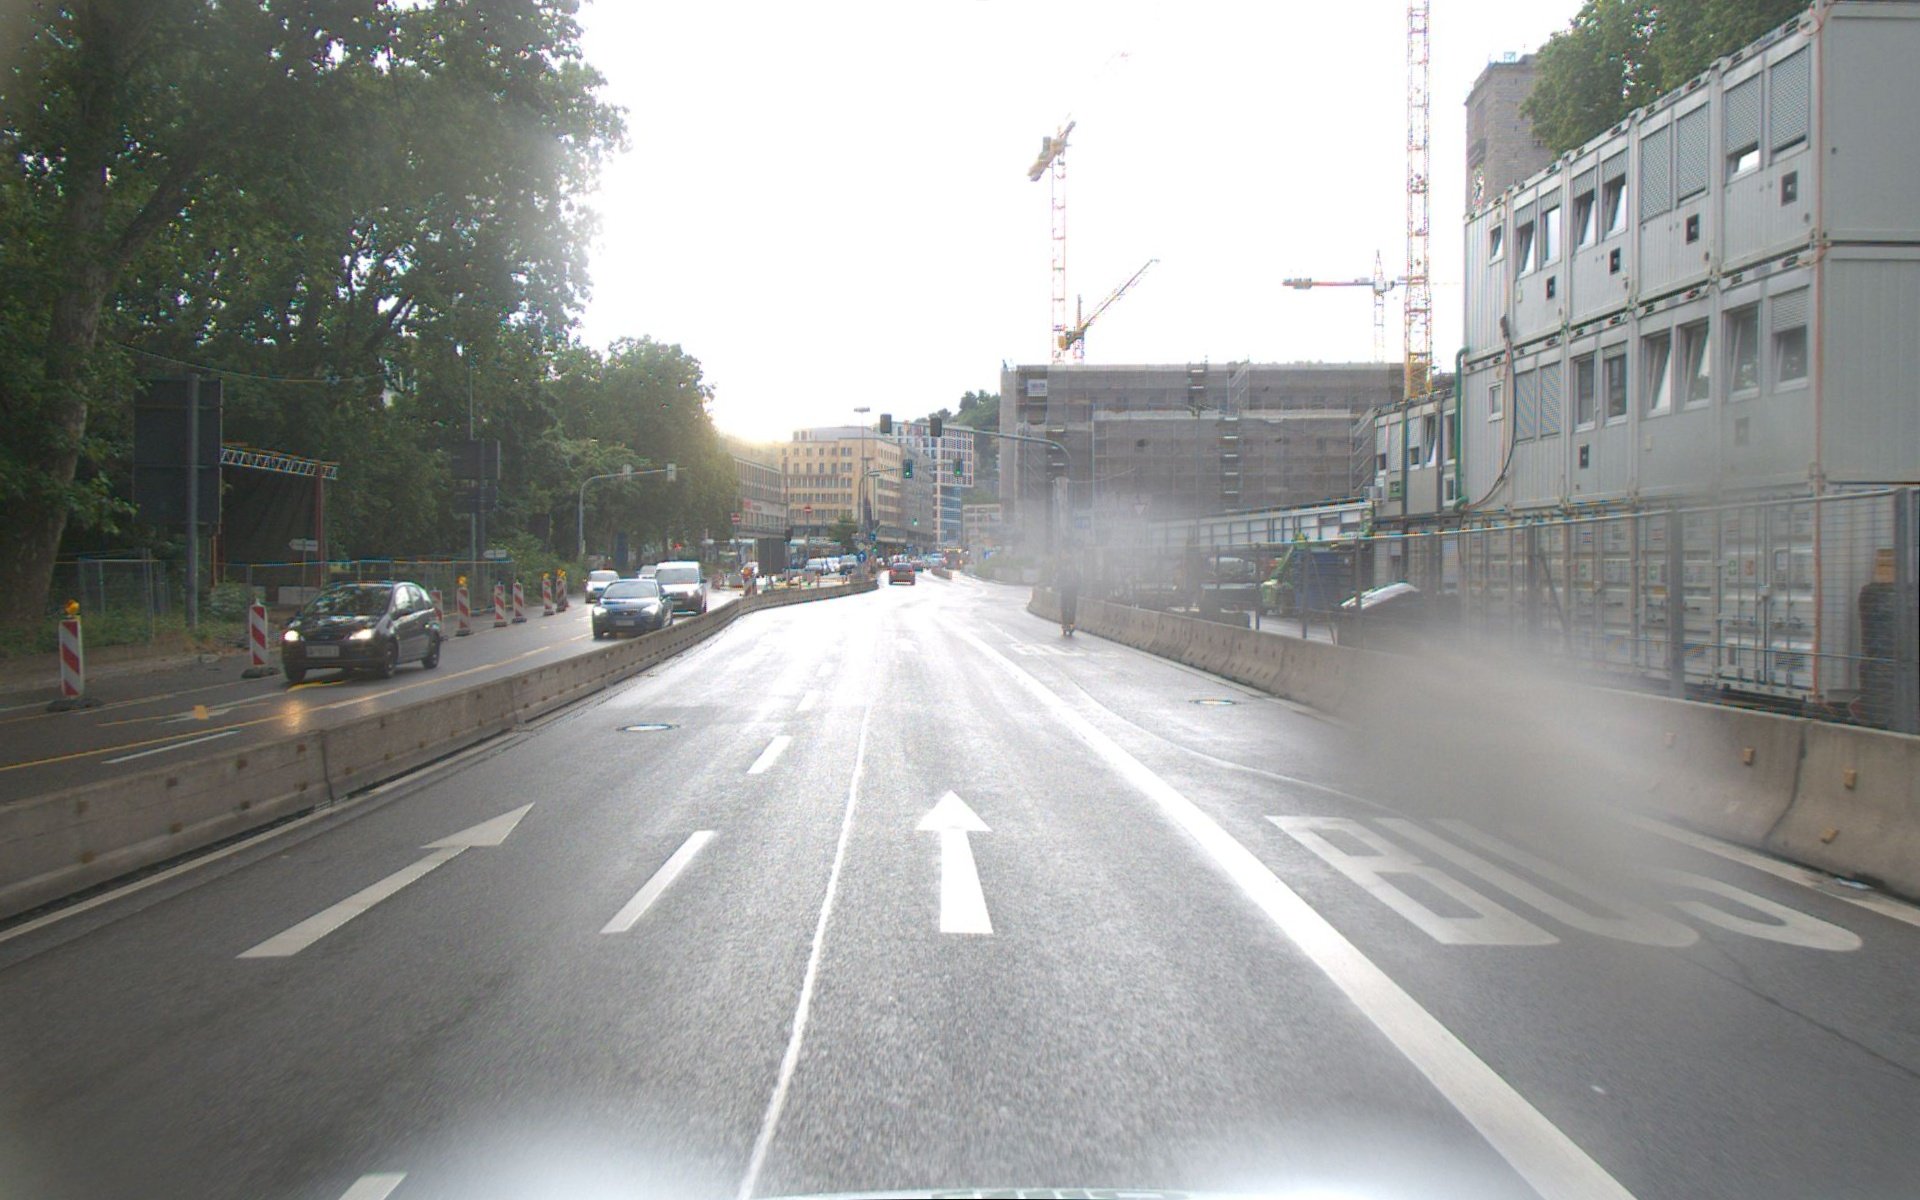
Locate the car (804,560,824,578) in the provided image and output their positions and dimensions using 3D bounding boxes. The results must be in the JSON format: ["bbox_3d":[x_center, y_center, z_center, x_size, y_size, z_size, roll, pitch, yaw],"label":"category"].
[{"bbox_3d":[-14.327,-3.049,162.924,1.865,1.554,4.173,-2,-1,-5],"label":"car"}]

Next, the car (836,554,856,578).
[{"bbox_3d":[-11.307,-3.327,163.756,1.865,2.119,4.173,-2,-1,-5],"label":"car"}]

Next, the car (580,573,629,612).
[{"bbox_3d":[-16.893,-0.332,78.798,1.839,1.736,3.994,-2,-1,-6],"label":"car"}]

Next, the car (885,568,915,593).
[{"bbox_3d":[-4.116,-1.338,113.415,1.865,1.554,4.173,-2,-1,-5],"label":"car"}]

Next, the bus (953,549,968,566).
[{"bbox_3d":[0.117,-6.587,256.979,1.952,2.474,4.001,-2,-1,3],"label":"bus"}]

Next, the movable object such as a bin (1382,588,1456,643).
[{"bbox_3d":[10.131,0.346,36.541,1.222,1.143,1.238,-2,-1,-3],"label":"movable object such as a bin"}]

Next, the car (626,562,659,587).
[{"bbox_3d":[-22.786,-1.838,118.942,1.956,1.568,4.438,-2,-1,-7],"label":"car"}]

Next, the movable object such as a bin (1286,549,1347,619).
[{"bbox_3d":[11.529,-0.535,53.531,1.438,2.241,1.255,-1,2,-26],"label":"movable object such as a bin"}]

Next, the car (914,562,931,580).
[{"bbox_3d":[-4.626,-3.613,204.266,1.953,2.049,3.999,-2,-1,-1],"label":"car"}]

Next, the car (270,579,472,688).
[{"bbox_3d":[-10.222,0.517,29.091,1.989,1.682,4.319,-1,2,0],"label":"car"}]

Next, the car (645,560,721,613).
[{"bbox_3d":[-9.524,-0.470,57.241,1.990,1.682,4.909,-2,0,-3],"label":"car"}]

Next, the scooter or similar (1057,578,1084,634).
[{"bbox_3d":[2.757,0.137,41.398,0.585,1.342,1.667,0,1,0],"label":"scooter or similar"}]

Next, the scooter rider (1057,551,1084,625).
[{"bbox_3d":[2.762,-0.312,41.410,0.585,1.817,0.997,0,1,0],"label":"scooter rider"}]

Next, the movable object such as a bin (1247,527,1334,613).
[{"bbox_3d":[11.421,-1.091,57.412,1.772,2.858,3.861,0,2,-7],"label":"movable object such as a bin"}]

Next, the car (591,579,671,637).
[{"bbox_3d":[-8.416,0.179,42.625,1.679,1.362,4.055,-2,0,-7],"label":"car"}]

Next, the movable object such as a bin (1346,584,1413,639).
[{"bbox_3d":[10.101,0.279,39.867,1.222,1.258,1.238,-2,-1,-3],"label":"movable object such as a bin"}]
